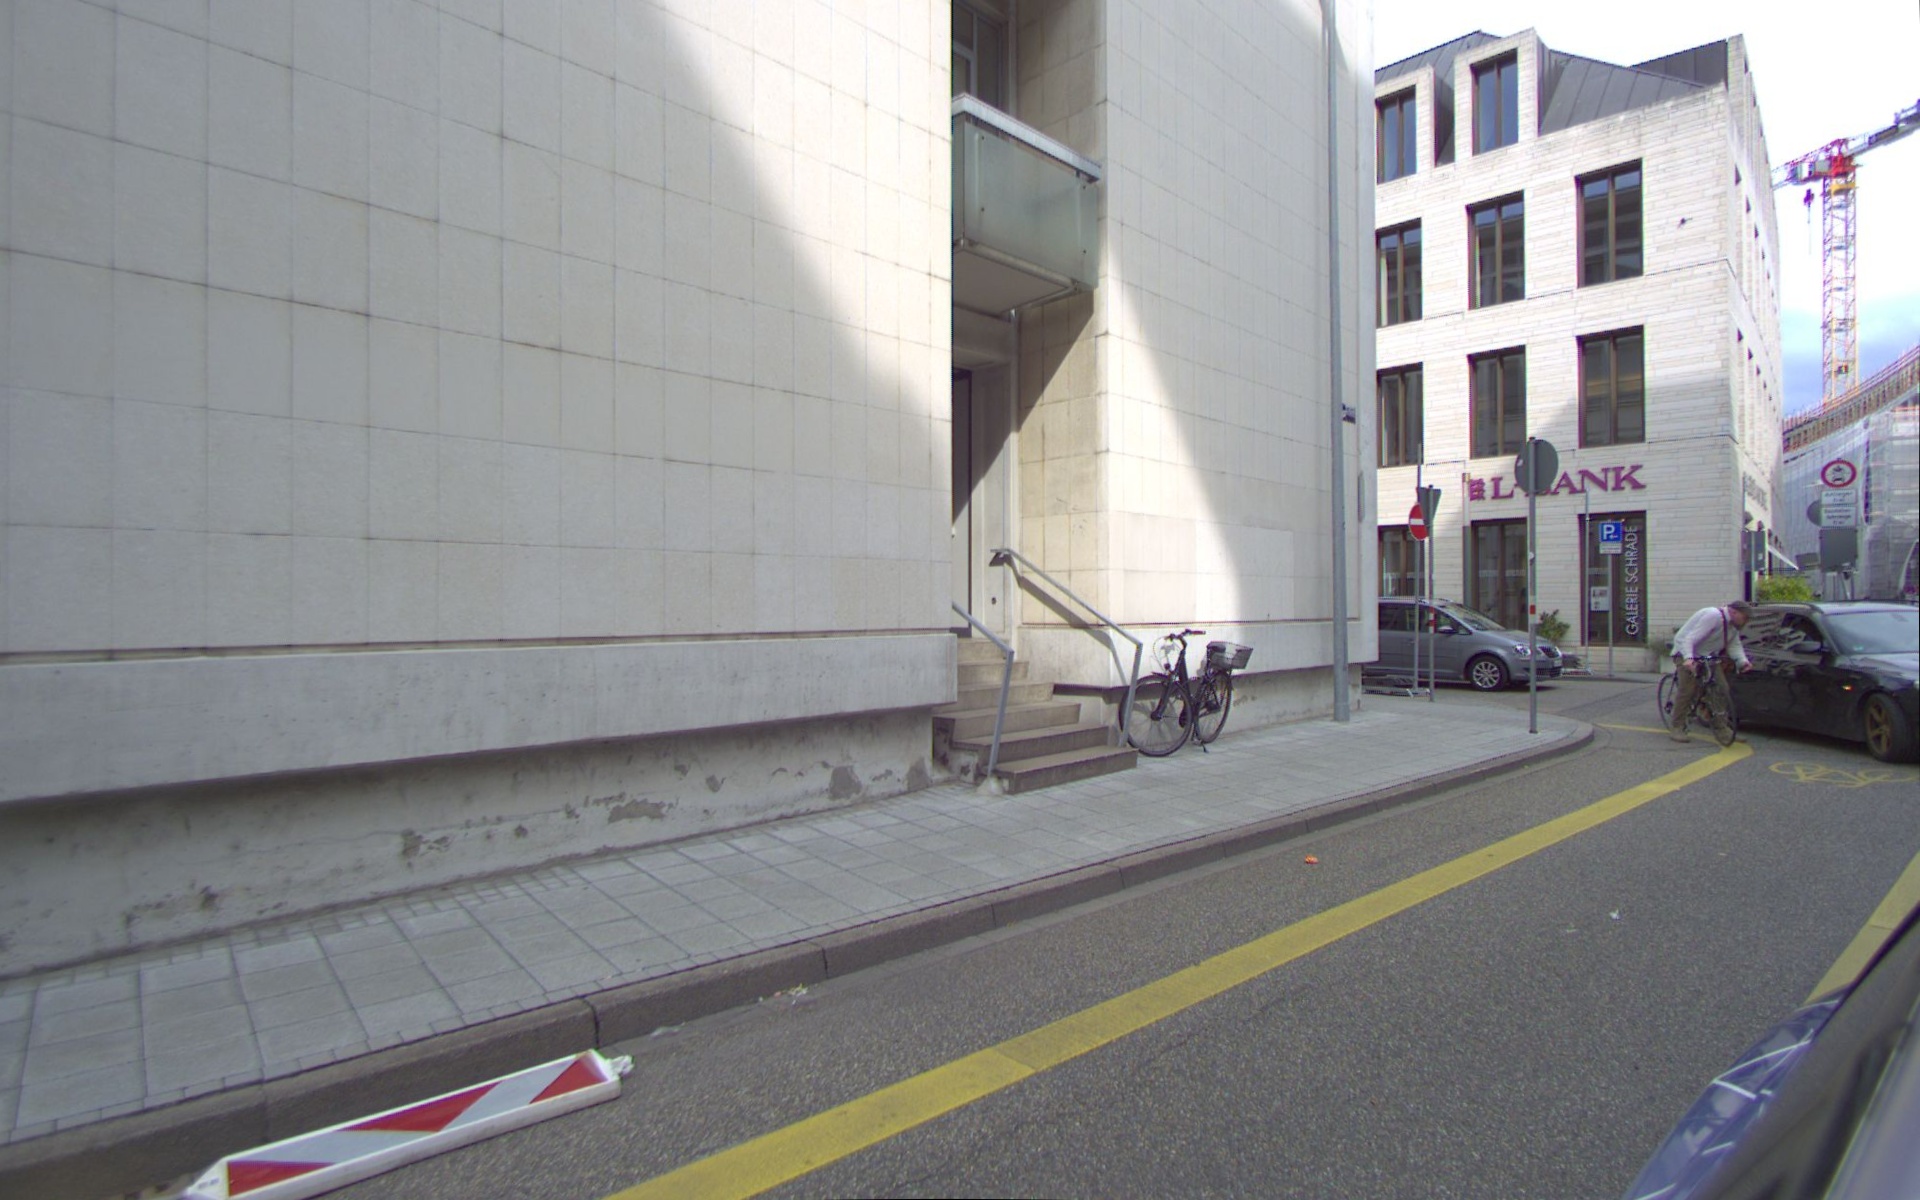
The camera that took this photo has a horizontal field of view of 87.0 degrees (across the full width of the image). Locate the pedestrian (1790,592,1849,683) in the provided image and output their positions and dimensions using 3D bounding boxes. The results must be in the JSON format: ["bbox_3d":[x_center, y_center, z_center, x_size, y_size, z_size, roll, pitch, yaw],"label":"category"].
[{"bbox_3d":[17.937,0.757,21.150,0.767,1.854,0.853,0,0,29],"label":"pedestrian"}]

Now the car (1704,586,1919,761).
[{"bbox_3d":[9.386,0.624,10.049,1.690,1.509,3.754,-1,0,10],"label":"car"}]

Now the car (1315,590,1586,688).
[{"bbox_3d":[8.991,0.632,18.809,1.784,1.610,4.187,-1,0,-42],"label":"car"}]

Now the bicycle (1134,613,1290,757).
[{"bbox_3d":[2.379,0.731,9.417,0.588,1.182,1.786,0,0,44],"label":"bicycle"}]

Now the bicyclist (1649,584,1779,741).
[{"bbox_3d":[8.120,0.641,10.950,0.881,1.614,0.872,0,0,19],"label":"bicyclist"}]

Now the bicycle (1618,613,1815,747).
[{"bbox_3d":[8.196,0.786,11.156,0.860,1.209,2.847,0,0,18],"label":"bicycle"}]
